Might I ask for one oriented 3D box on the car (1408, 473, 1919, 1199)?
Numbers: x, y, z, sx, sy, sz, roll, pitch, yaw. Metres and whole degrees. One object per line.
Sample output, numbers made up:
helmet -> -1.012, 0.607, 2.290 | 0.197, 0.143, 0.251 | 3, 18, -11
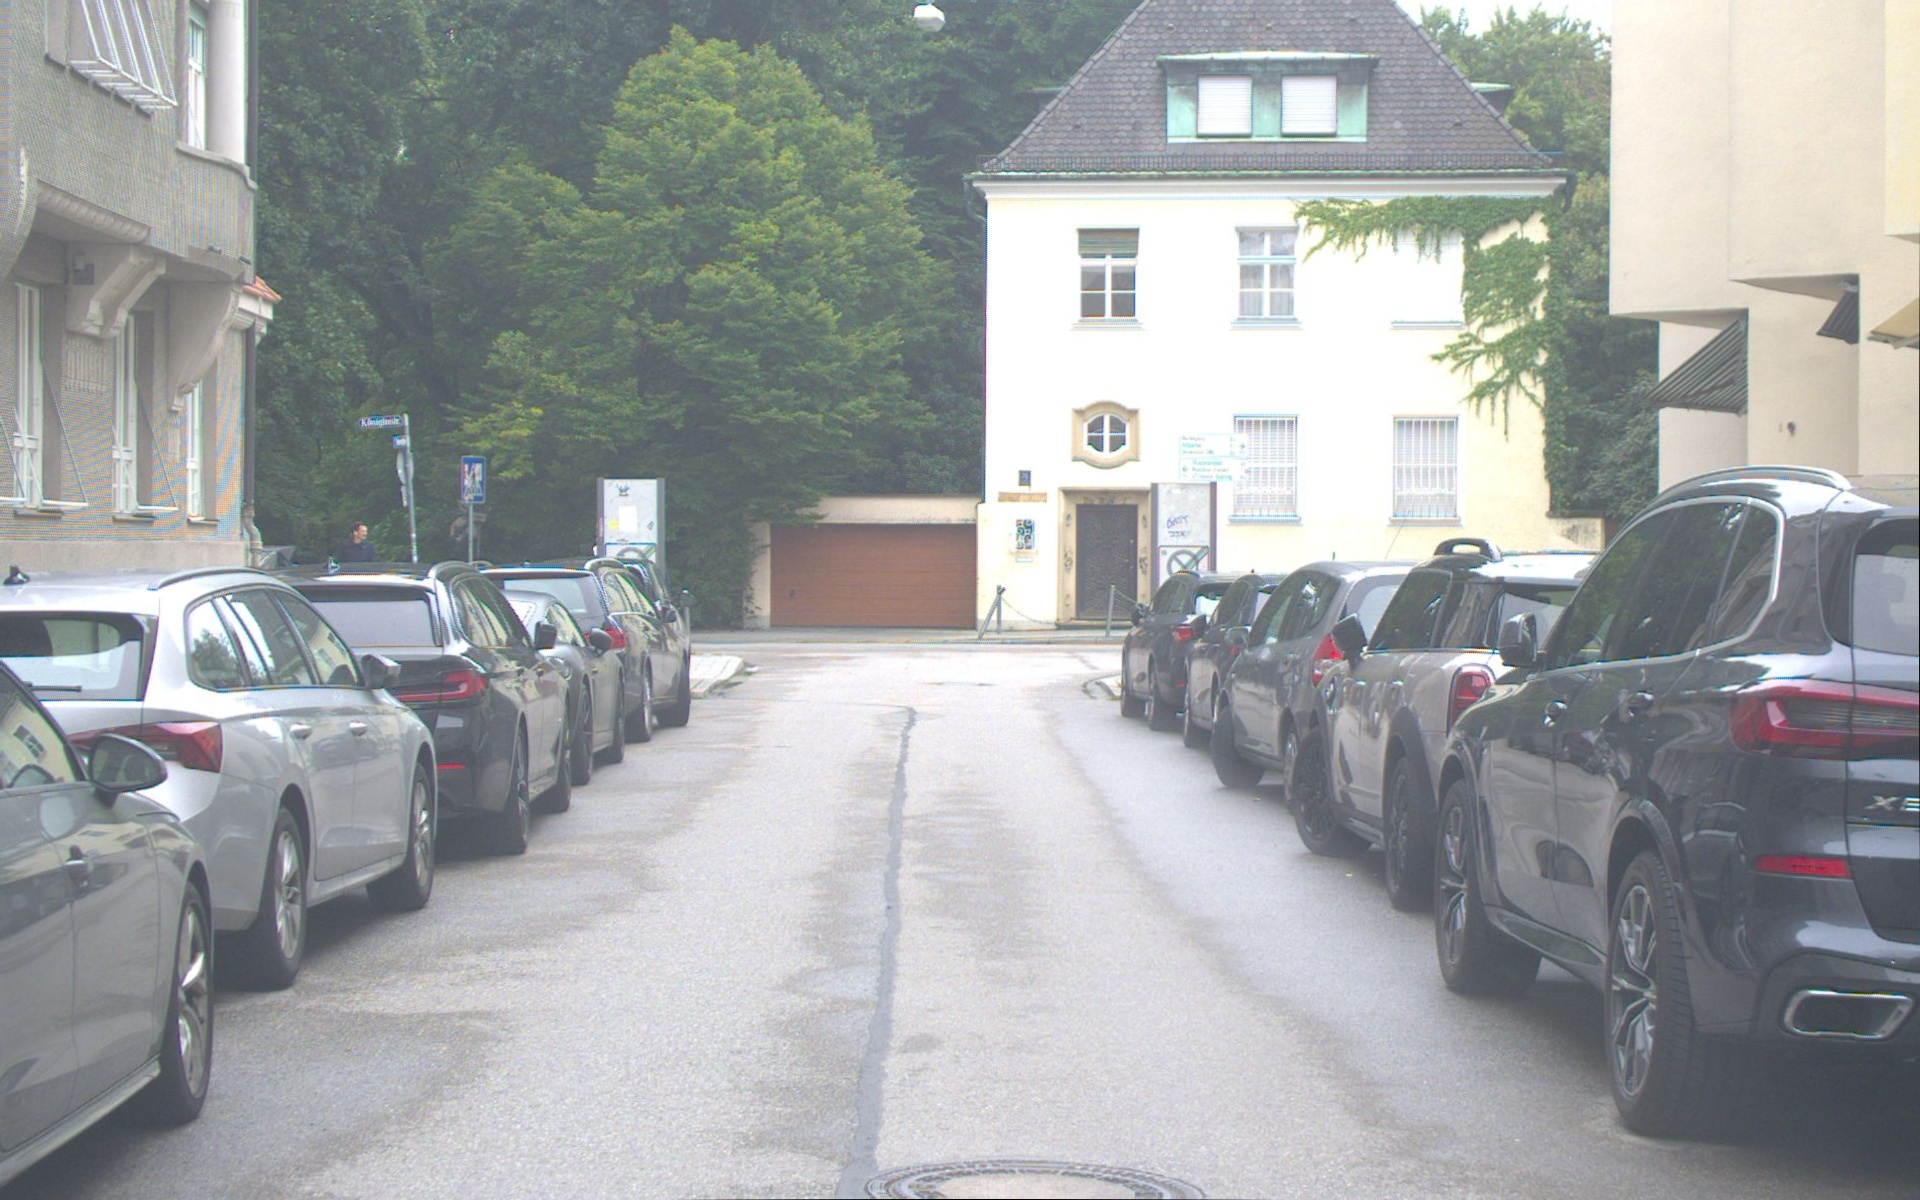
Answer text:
car -> 2.639, 0.543, 10.063 | 1.993, 1.683, 4.674 | 2, 1, 0

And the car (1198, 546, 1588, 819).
car -> 2.595, 0.442, 21.442 | 1.633, 1.531, 3.856 | 1, 1, -5

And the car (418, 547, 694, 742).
car -> -3.326, 0.310, 29.101 | 1.755, 1.510, 4.708 | 0, 1, 0

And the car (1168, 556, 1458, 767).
car -> 2.622, 0.411, 26.326 | 1.634, 1.466, 3.856 | 1, 1, -3

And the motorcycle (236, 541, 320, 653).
motorcycle -> -9.002, -0.059, 45.448 | 0.736, 1.436, 2.147 | 1, 1, -2

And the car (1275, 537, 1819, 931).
car -> 2.576, 0.519, 15.988 | 1.633, 1.586, 3.969 | 1, 1, -3

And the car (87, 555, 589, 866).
car -> -3.162, 0.486, 18.457 | 1.993, 1.443, 4.779 | 0, 1, -2

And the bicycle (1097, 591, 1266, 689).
bicycle -> 2.537, 0.452, 39.362 | 1.794, 1.082, 0.665 | 0, 2, 27

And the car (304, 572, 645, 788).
car -> -3.254, 0.487, 23.742 | 1.755, 1.326, 4.097 | 0, 1, 0

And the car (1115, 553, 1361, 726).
car -> 2.511, 0.309, 32.028 | 1.692, 1.466, 4.611 | 1, 1, -3

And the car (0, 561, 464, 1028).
car -> -3.145, 0.598, 13.047 | 1.805, 1.426, 4.439 | -1, 1, 1

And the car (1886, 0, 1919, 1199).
car -> 2.937, 0.027, 3.352 | 2.254, 2.950, 6.132 | 2, 0, -1

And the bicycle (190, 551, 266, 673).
bicycle -> -8.289, 0.119, 38.967 | 0.618, 1.345, 1.675 | 1, 1, -5

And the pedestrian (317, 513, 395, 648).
pedestrian -> -8.117, -0.271, 46.235 | 0.839, 1.781, 0.936 | 1, 1, 2

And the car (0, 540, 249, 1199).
car -> -2.778, 0.626, 7.295 | 1.837, 1.508, 4.609 | 0, 1, -3

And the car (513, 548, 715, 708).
car -> -3.397, 0.246, 34.193 | 1.704, 1.510, 2.911 | 0, 1, 0
